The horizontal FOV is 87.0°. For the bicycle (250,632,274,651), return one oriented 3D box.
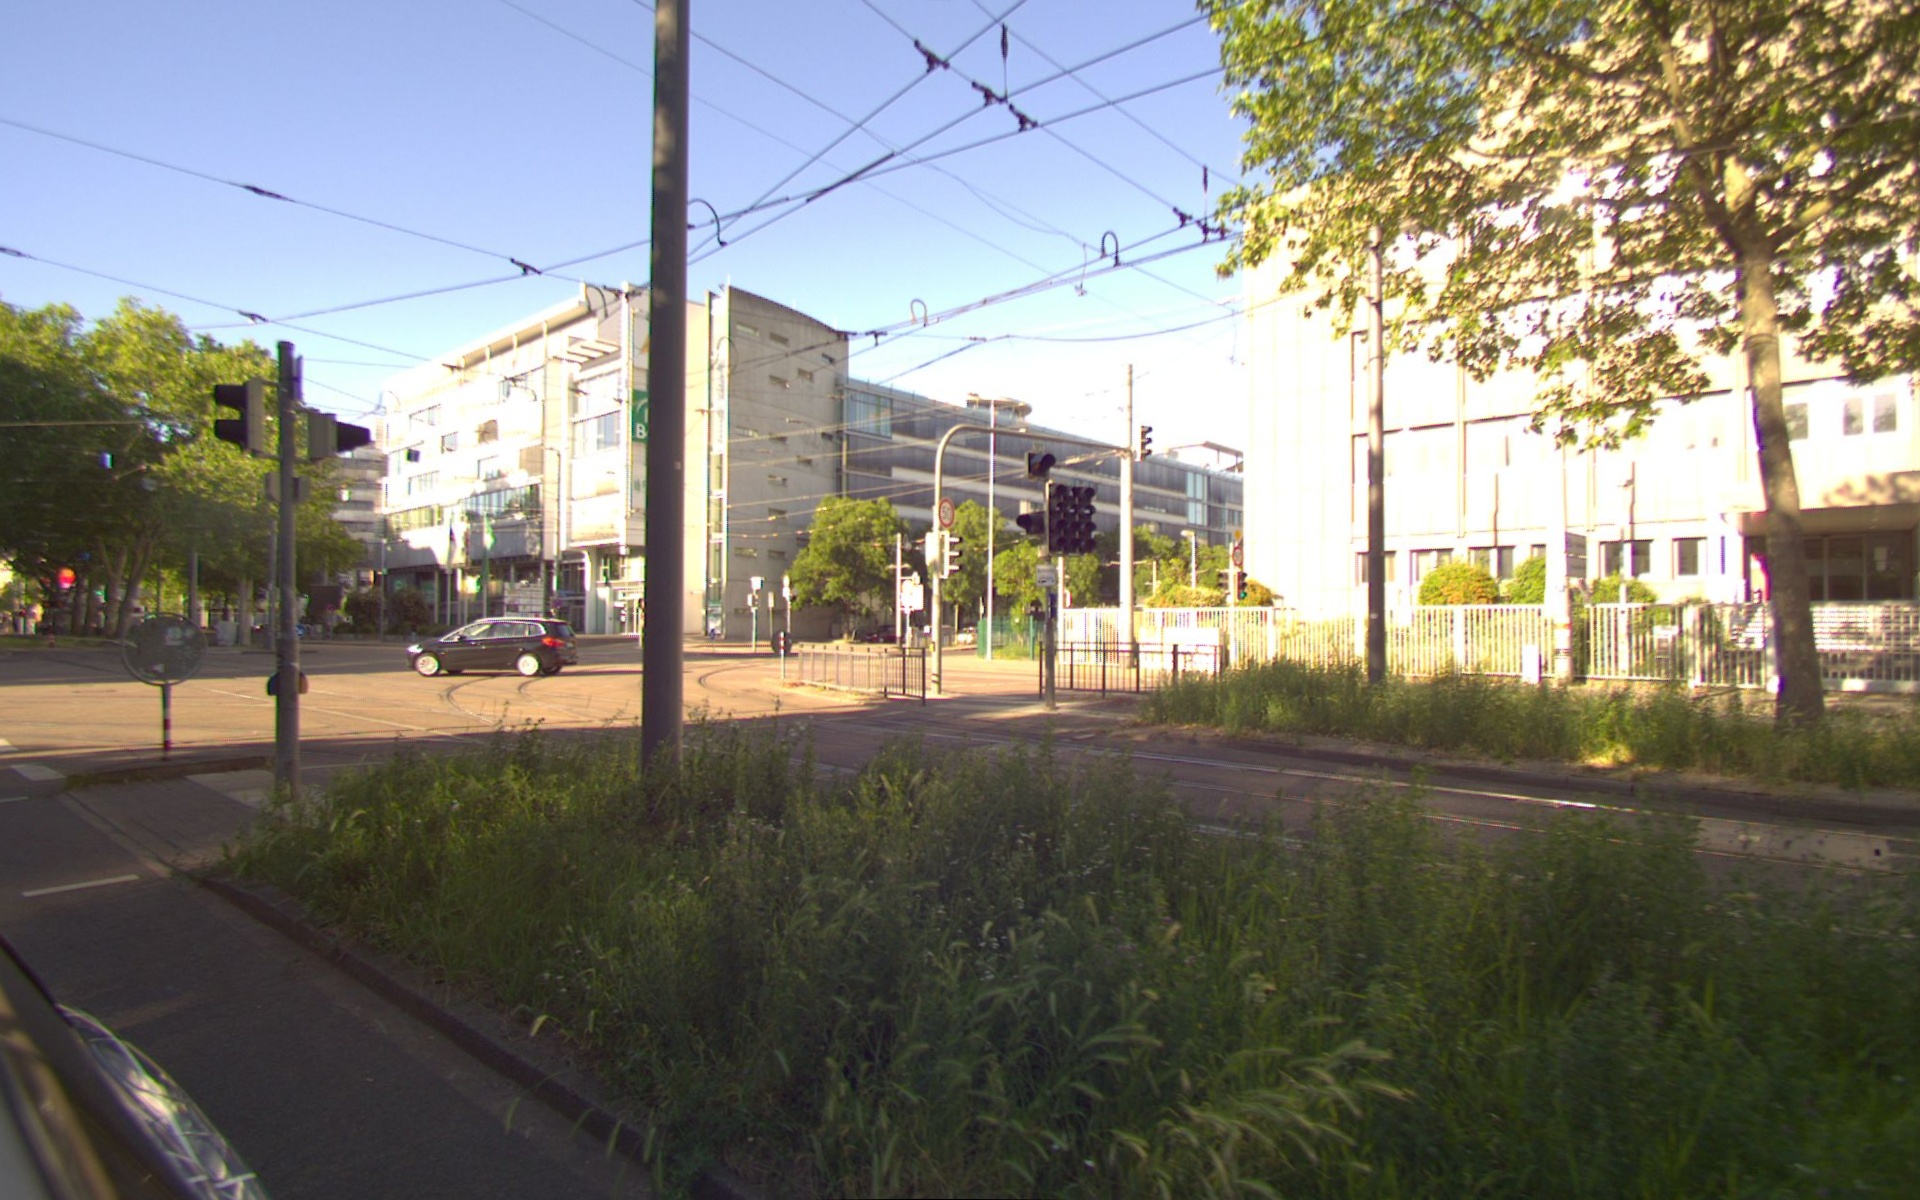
[{"bbox_3d":[-37.434,2.213,54.264,0.803,0.953,1.728,1,-2,-42],"label":"bicycle"}]

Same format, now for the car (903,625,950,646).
[{"bbox_3d":[-2.718,2.862,82.702,1.734,1.666,3.899,-1,-2,41],"label":"car"}]

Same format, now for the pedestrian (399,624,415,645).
[{"bbox_3d":[-42.014,2.633,76.899,0.767,1.604,0.896,-2,-3,41],"label":"pedestrian"}]

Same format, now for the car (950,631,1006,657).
[{"bbox_3d":[1.286,3.047,70.767,2.104,1.710,3.923,-1,-2,35],"label":"car"}]

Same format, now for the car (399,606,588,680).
[{"bbox_3d":[-12.890,1.171,28.174,4.357,1.962,2.002,0,-2,-4],"label":"car"}]

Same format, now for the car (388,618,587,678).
[{"bbox_3d":[-13.178,1.334,28.434,4.690,1.629,1.999,0,-2,1],"label":"car"}]

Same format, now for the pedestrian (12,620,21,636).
[{"bbox_3d":[-108.737,3.209,116.606,0.674,1.767,0.649,-1,-2,34],"label":"pedestrian"}]

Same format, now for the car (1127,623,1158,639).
[{"bbox_3d":[19.468,3.258,107.862,1.734,1.666,3.750,-1,-2,39],"label":"car"}]

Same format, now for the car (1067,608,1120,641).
[{"bbox_3d":[10.534,1.955,79.741,2.180,2.524,4.343,-1,-2,39],"label":"car"}]
